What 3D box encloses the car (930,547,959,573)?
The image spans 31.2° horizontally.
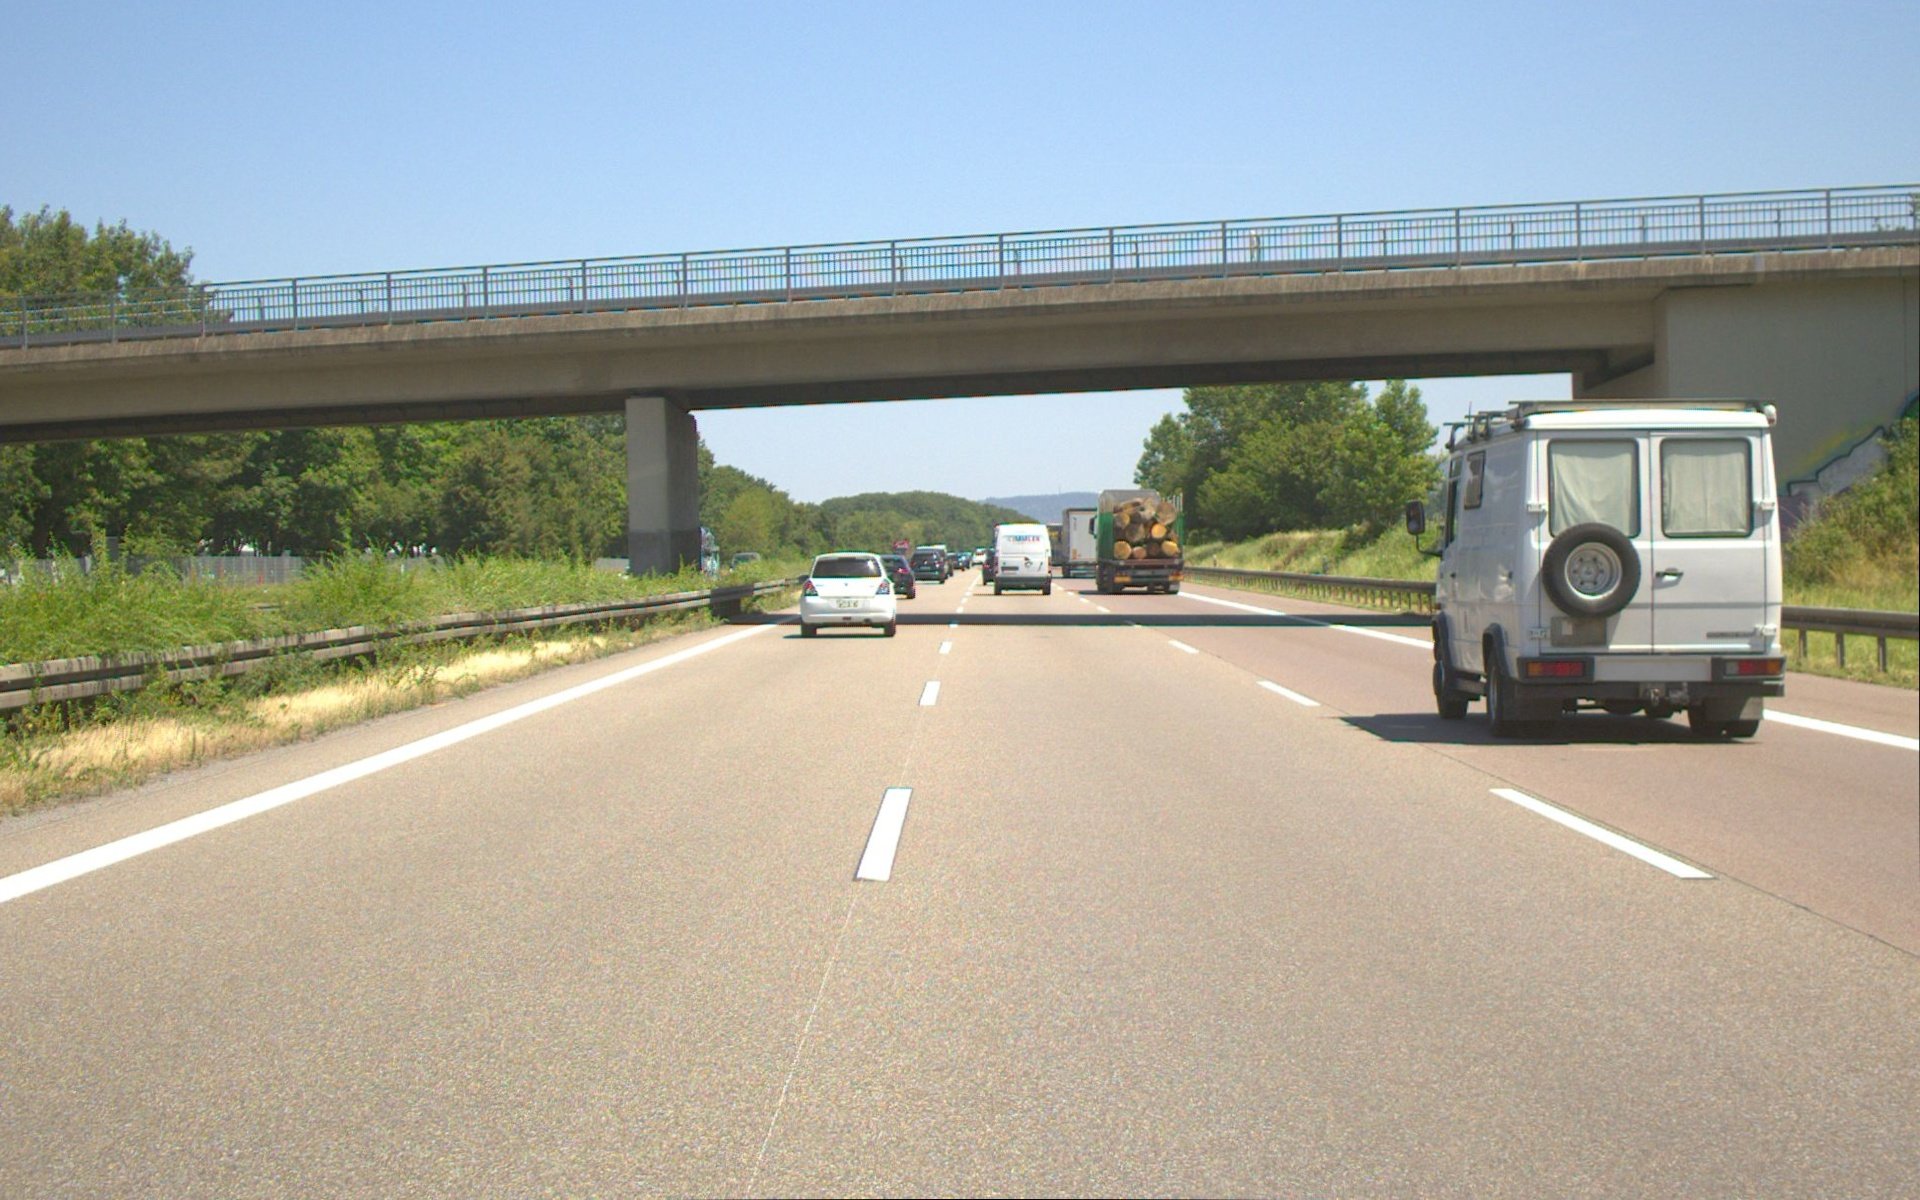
[{"bbox_3d":[-0.988,-2.558,218.505,1.857,1.646,4.000,0,1,-1],"label":"car"}]

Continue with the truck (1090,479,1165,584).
[{"bbox_3d":[6.477,-2.662,133.680,2.670,3.981,6.636,0,1,1],"label":"truck"}]

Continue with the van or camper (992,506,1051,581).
[{"bbox_3d":[2.205,-1.995,123.017,2.058,2.613,5.985,0,1,1],"label":"van or camper"}]

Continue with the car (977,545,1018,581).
[{"bbox_3d":[1.723,-1.732,159.294,1.857,1.646,4.000,0,1,-1],"label":"car"}]

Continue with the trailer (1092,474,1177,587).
[{"bbox_3d":[6.351,-2.510,126.658,2.653,3.945,13.636,0,1,1],"label":"trailer"}]

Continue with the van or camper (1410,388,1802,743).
[{"bbox_3d":[5.319,-0.300,29.269,2.113,2.694,6.368,0,1,0],"label":"van or camper"}]

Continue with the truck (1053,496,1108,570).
[{"bbox_3d":[7.077,-3.923,204.181,3.079,4.194,16.843,1,1,2],"label":"truck"}]

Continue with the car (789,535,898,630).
[{"bbox_3d":[-2.083,-0.335,62.421,1.857,1.646,4.000,1,1,-1],"label":"car"}]

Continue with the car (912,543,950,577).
[{"bbox_3d":[-1.415,-1.954,168.068,1.857,1.646,4.000,0,1,-1],"label":"car"}]
